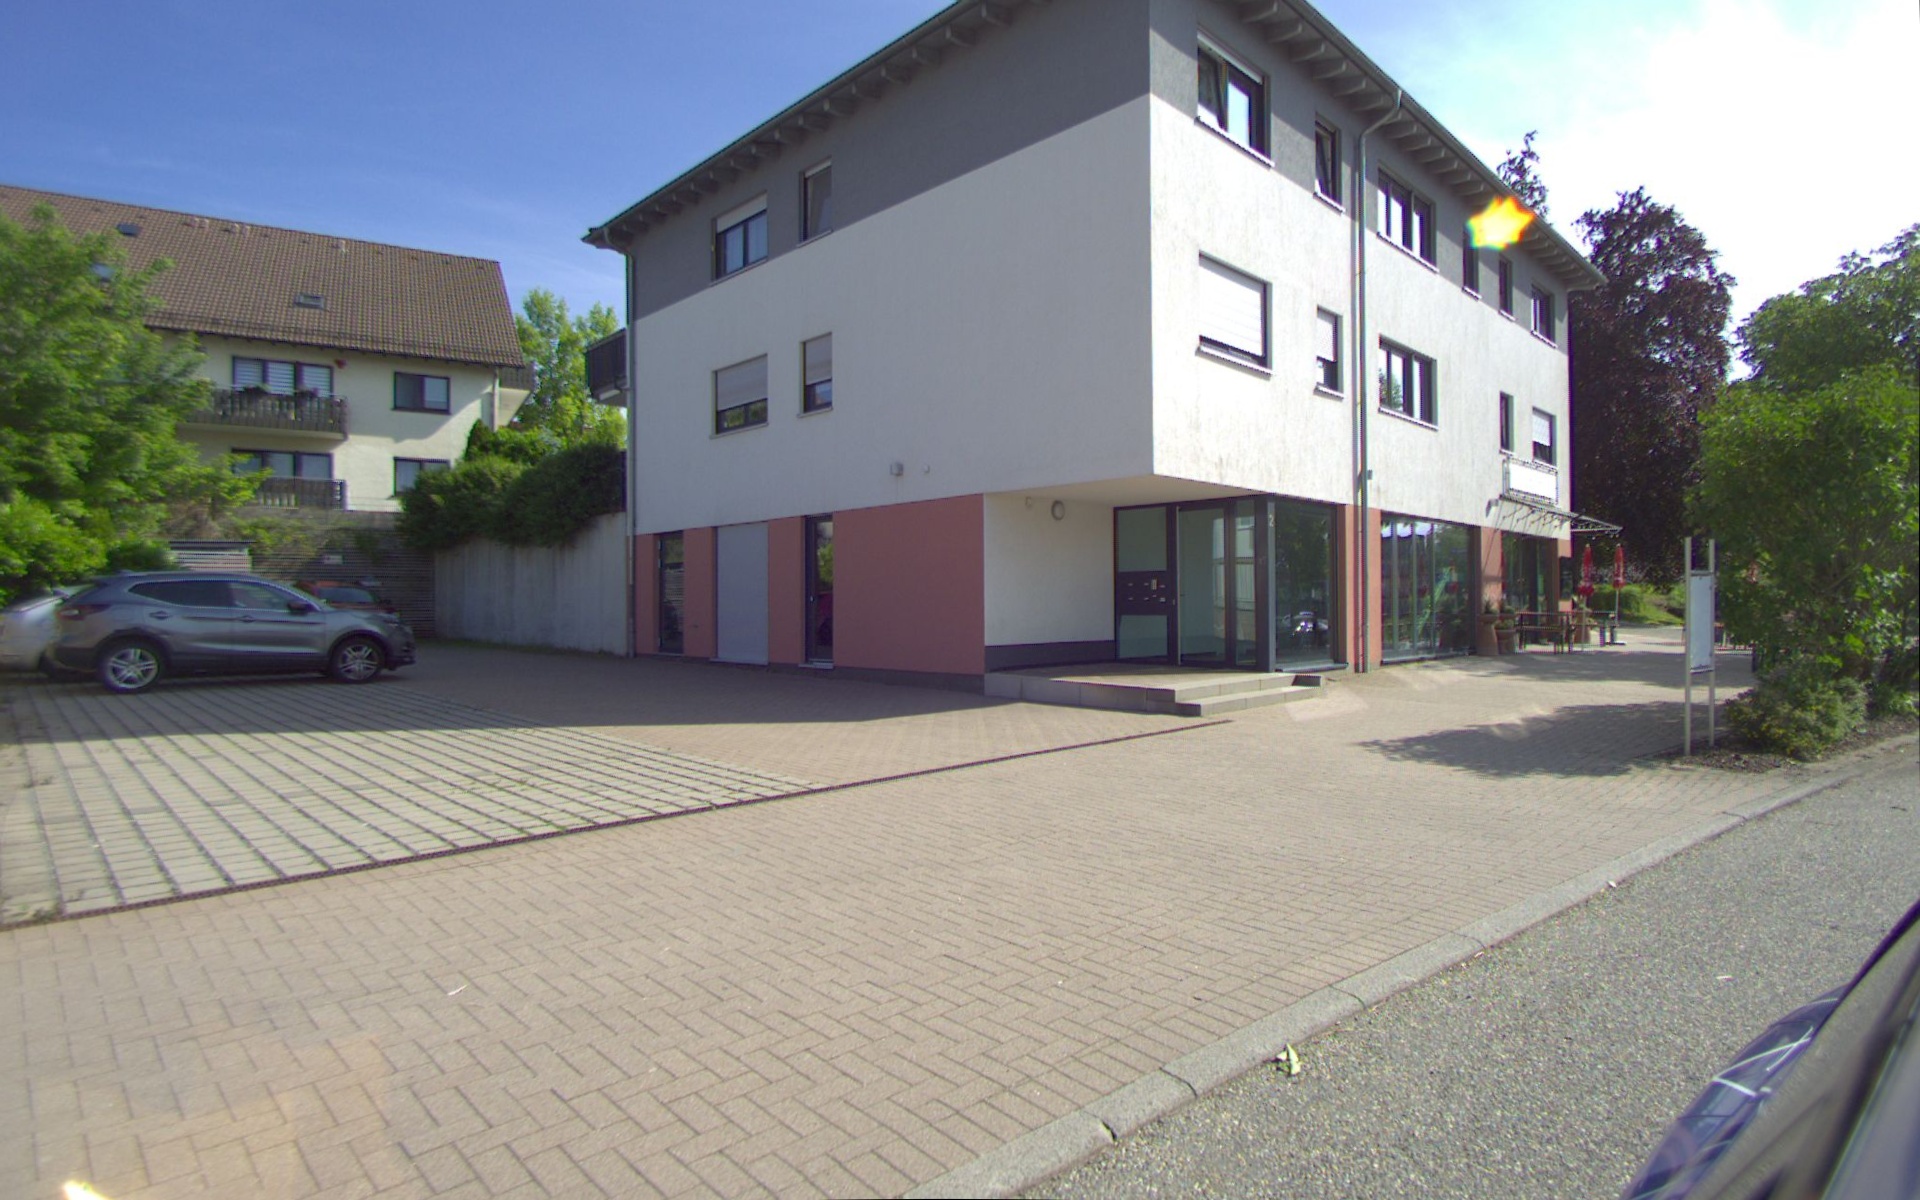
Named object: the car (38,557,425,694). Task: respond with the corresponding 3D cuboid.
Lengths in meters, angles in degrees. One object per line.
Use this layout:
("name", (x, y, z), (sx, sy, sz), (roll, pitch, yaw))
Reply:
("car", (-10.353, 0.299, 14.586), (4.306, 1.670, 1.918), (1, 1, -44))

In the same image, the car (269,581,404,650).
("car", (-14.941, 0.315, 24.203), (3.533, 1.458, 1.863), (2, 2, 42))

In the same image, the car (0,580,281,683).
("car", (-12.605, 0.429, 15.660), (3.248, 1.410, 1.779), (0, 0, -44))
